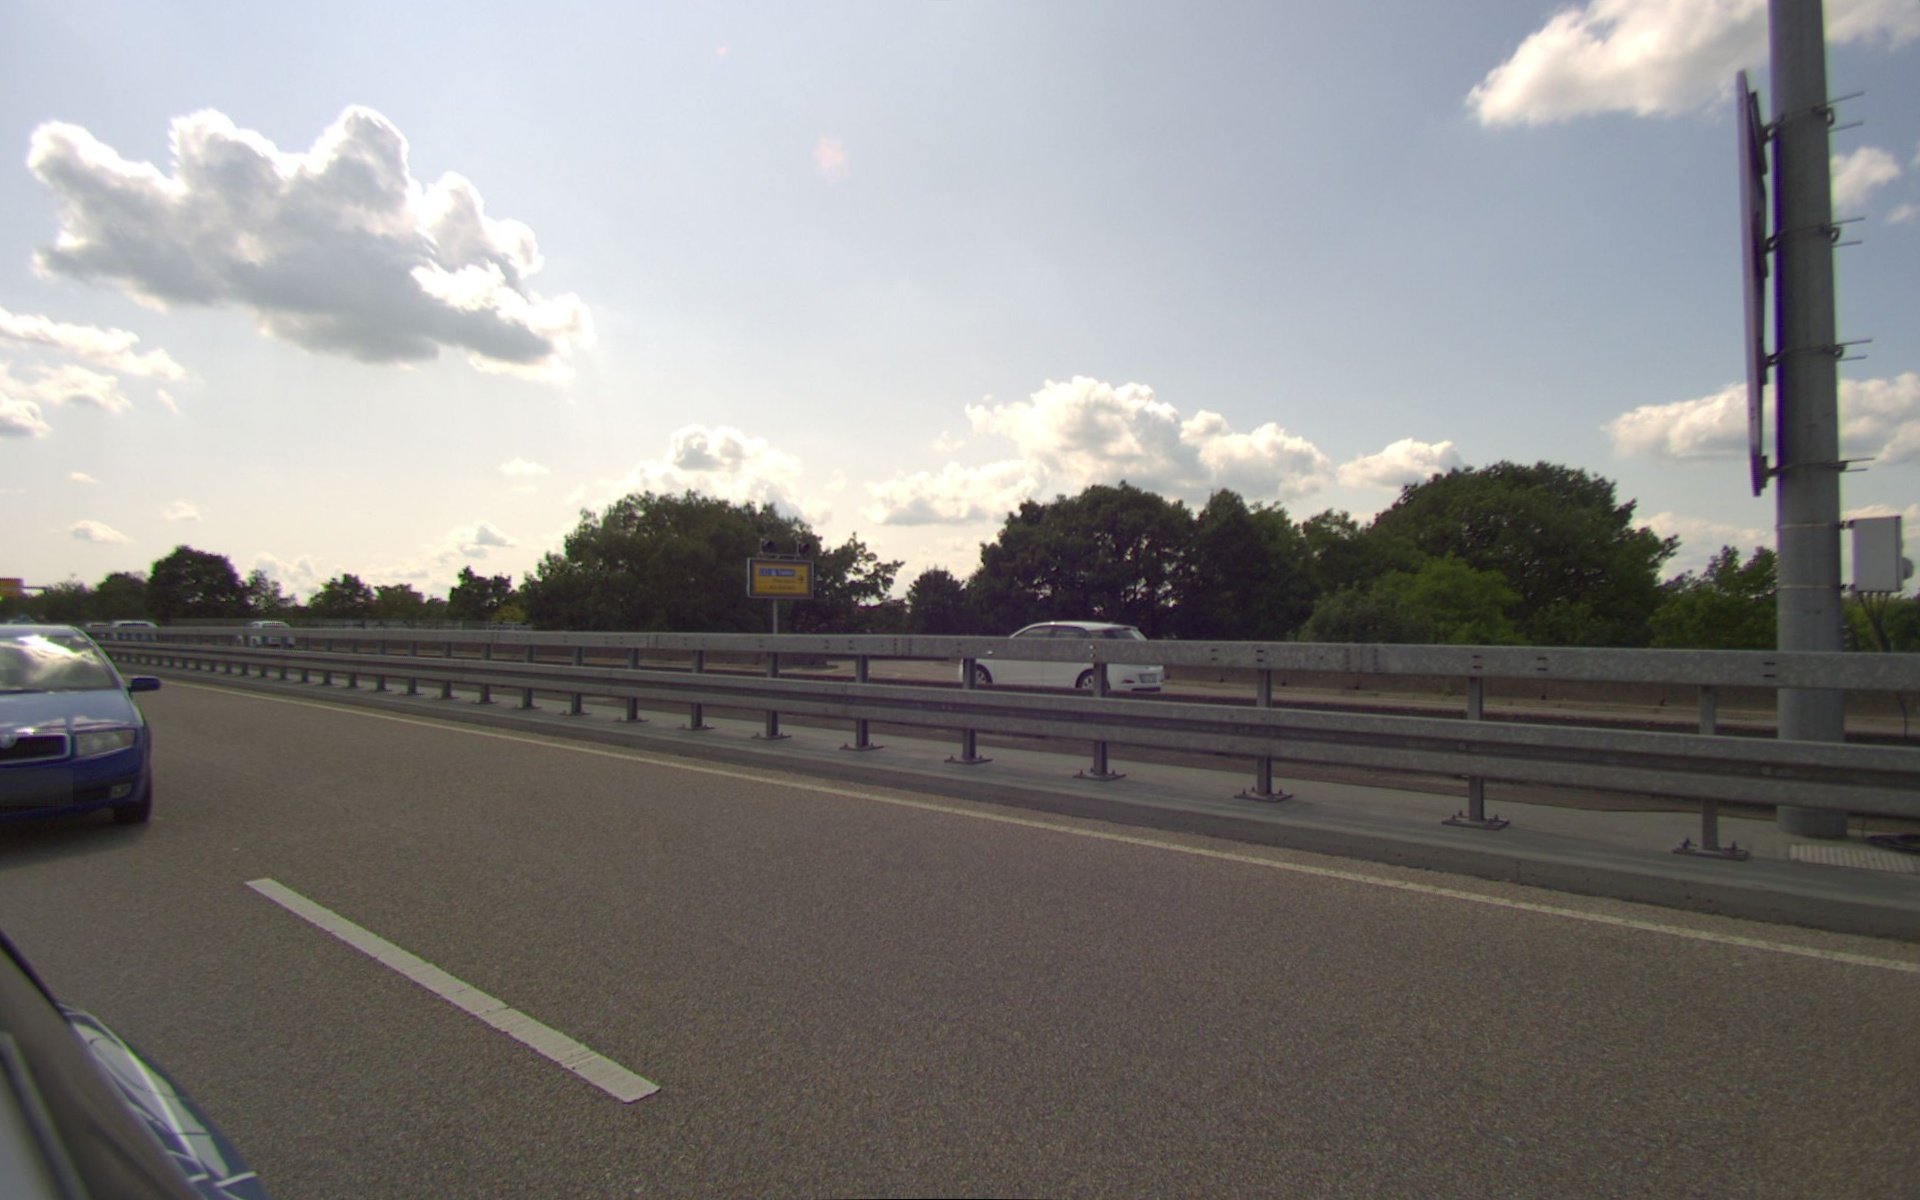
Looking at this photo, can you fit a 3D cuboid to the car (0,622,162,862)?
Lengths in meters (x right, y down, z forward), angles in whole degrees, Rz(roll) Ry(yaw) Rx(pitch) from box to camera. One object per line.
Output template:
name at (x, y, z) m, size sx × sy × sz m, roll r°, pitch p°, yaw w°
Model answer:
car at (-7.133, 0.901, 7.384) m, size 3.773 × 1.422 × 1.603 m, roll -2°, pitch 0°, yaw 45°

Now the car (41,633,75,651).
car at (-78.050, 3.631, 87.539) m, size 3.627 × 1.486 × 1.582 m, roll -2°, pitch -4°, yaw 39°

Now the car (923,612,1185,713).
car at (1.632, 1.085, 18.809) m, size 4.710 × 1.608 × 1.779 m, roll -2°, pitch 0°, yaw 41°

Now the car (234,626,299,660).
car at (-35.154, 2.168, 51.263) m, size 3.952 × 1.593 × 1.810 m, roll -2°, pitch 0°, yaw 42°

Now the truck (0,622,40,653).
truck at (-70.208, 2.751, 75.458) m, size 5.186 × 2.203 × 1.853 m, roll -2°, pitch -1°, yaw 42°

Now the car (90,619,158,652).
car at (-43.147, 1.819, 52.204) m, size 4.238 × 1.540 × 1.884 m, roll -2°, pitch 0°, yaw 39°

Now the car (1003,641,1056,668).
car at (5.657, 4.372, 81.946) m, size 1.995 × 1.912 × 5.108 m, roll -2°, pitch 0°, yaw 34°

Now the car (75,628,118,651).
car at (-64.965, 2.978, 76.115) m, size 3.997 × 1.651 × 1.803 m, roll -2°, pitch 0°, yaw 40°
